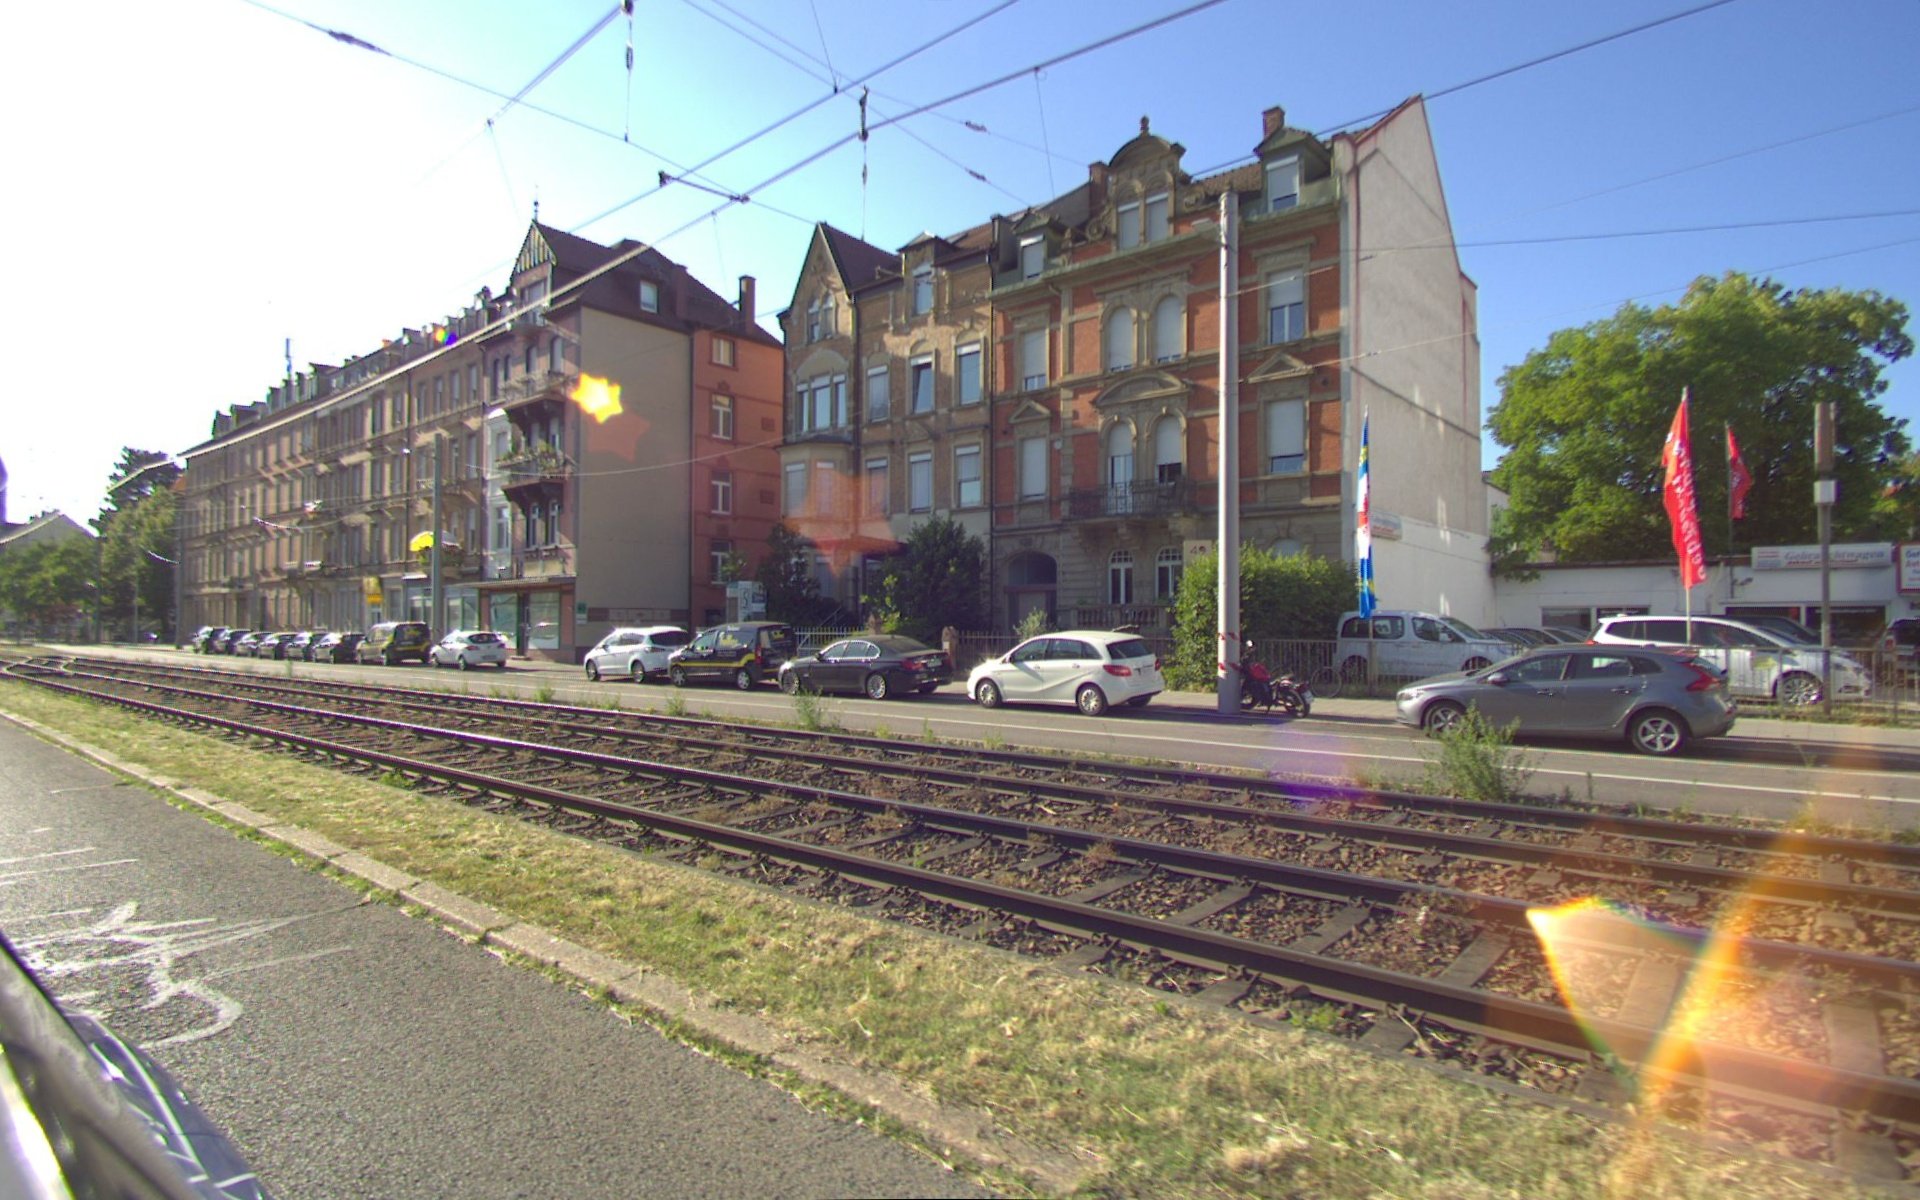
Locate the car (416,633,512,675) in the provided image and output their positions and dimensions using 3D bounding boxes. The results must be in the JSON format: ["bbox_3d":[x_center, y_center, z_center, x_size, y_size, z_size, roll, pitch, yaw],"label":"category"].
[{"bbox_3d":[-20.135,2.134,41.009,4.625,1.550,1.900,-1,-1,41],"label":"car"}]

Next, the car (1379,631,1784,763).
[{"bbox_3d":[8.981,1.293,14.896,4.837,1.471,1.902,-2,3,39],"label":"car"}]

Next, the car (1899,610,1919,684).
[{"bbox_3d":[26.310,1.271,26.837,1.939,1.900,3.941,-1,-3,45],"label":"car"}]

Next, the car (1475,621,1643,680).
[{"bbox_3d":[17.859,1.452,30.368,1.769,1.521,4.013,-1,0,-28],"label":"car"}]

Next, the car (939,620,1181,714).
[{"bbox_3d":[1.971,1.304,21.044,4.842,1.707,1.899,-2,-1,43],"label":"car"}]

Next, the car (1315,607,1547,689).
[{"bbox_3d":[10.946,1.063,23.754,4.564,1.668,1.882,1,-2,45],"label":"car"}]

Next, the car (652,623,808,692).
[{"bbox_3d":[-6.600,1.589,28.835,4.490,1.794,1.903,-2,-1,37],"label":"car"}]

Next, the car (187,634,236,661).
[{"bbox_3d":[-48.281,3.039,65.270,4.631,1.655,1.774,-2,-1,43],"label":"car"}]

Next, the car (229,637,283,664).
[{"bbox_3d":[-40.887,2.902,58.739,4.194,1.457,1.642,-2,-1,41],"label":"car"}]

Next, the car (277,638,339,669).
[{"bbox_3d":[-33.615,2.736,52.119,3.979,1.457,1.642,-2,-1,41],"label":"car"}]

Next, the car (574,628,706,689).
[{"bbox_3d":[-10.205,1.785,32.105,4.625,1.696,1.900,0,0,41],"label":"car"}]

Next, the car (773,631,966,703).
[{"bbox_3d":[-2.310,1.577,24.967,4.838,1.572,1.901,-2,-1,40],"label":"car"}]

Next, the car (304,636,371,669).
[{"bbox_3d":[-29.805,2.478,48.399,3.979,1.457,1.642,-2,-1,41],"label":"car"}]

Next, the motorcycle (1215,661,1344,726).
[{"bbox_3d":[5.730,1.648,18.284,0.815,0.961,2.157,-1,0,-35],"label":"motorcycle"}]

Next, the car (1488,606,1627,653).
[{"bbox_3d":[21.025,0.994,35.679,3.998,1.521,1.776,0,0,41],"label":"car"}]

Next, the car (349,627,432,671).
[{"bbox_3d":[-25.414,2.163,45.077,4.724,1.821,1.643,-1,-1,40],"label":"car"}]

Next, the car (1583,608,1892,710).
[{"bbox_3d":[14.937,1.053,19.617,4.564,1.668,1.882,1,-2,45],"label":"car"}]

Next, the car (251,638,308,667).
[{"bbox_3d":[-37.551,2.888,55.845,3.979,1.457,1.642,-2,-1,41],"label":"car"}]

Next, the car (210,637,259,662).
[{"bbox_3d":[-44.604,3.026,62.179,3.763,1.457,1.642,-2,-1,41],"label":"car"}]

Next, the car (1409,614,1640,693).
[{"bbox_3d":[13.581,1.226,24.549,4.564,1.668,1.882,1,-2,45],"label":"car"}]

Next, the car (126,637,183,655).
[{"bbox_3d":[-76.588,4.336,96.280,3.931,1.521,1.806,-1,0,-28],"label":"car"}]
